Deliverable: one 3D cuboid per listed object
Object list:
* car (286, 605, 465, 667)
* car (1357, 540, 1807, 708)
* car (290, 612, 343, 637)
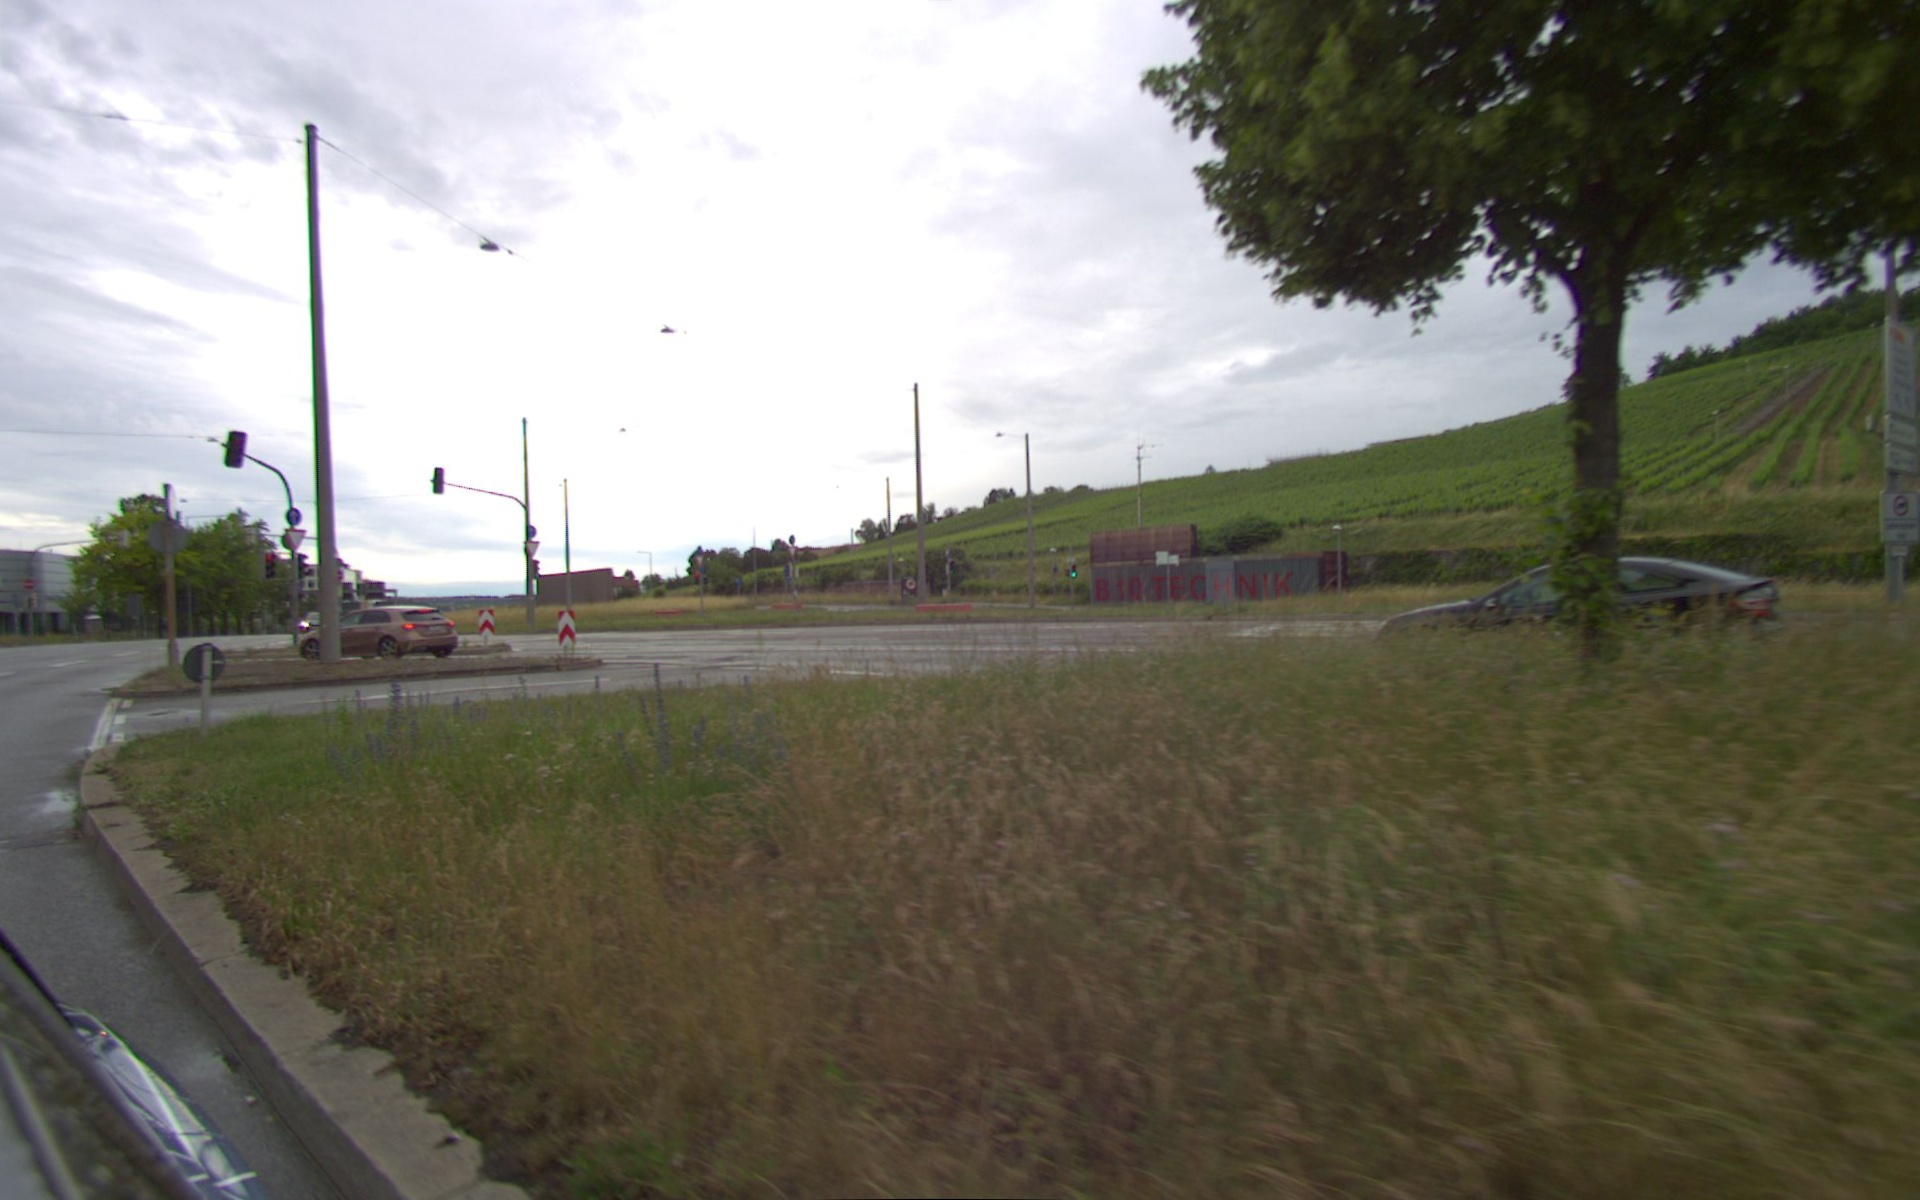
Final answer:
[{"bbox_3d":[-15.465,0.955,26.790,4.309,1.472,1.727,-2,1,21],"label":"car"},{"bbox_3d":[7.343,0.248,12.217,4.356,1.666,1.858,-1,0,42],"label":"car"},{"bbox_3d":[-44.076,1.667,69.406,1.768,1.600,3.915,-2,0,-11],"label":"car"}]
